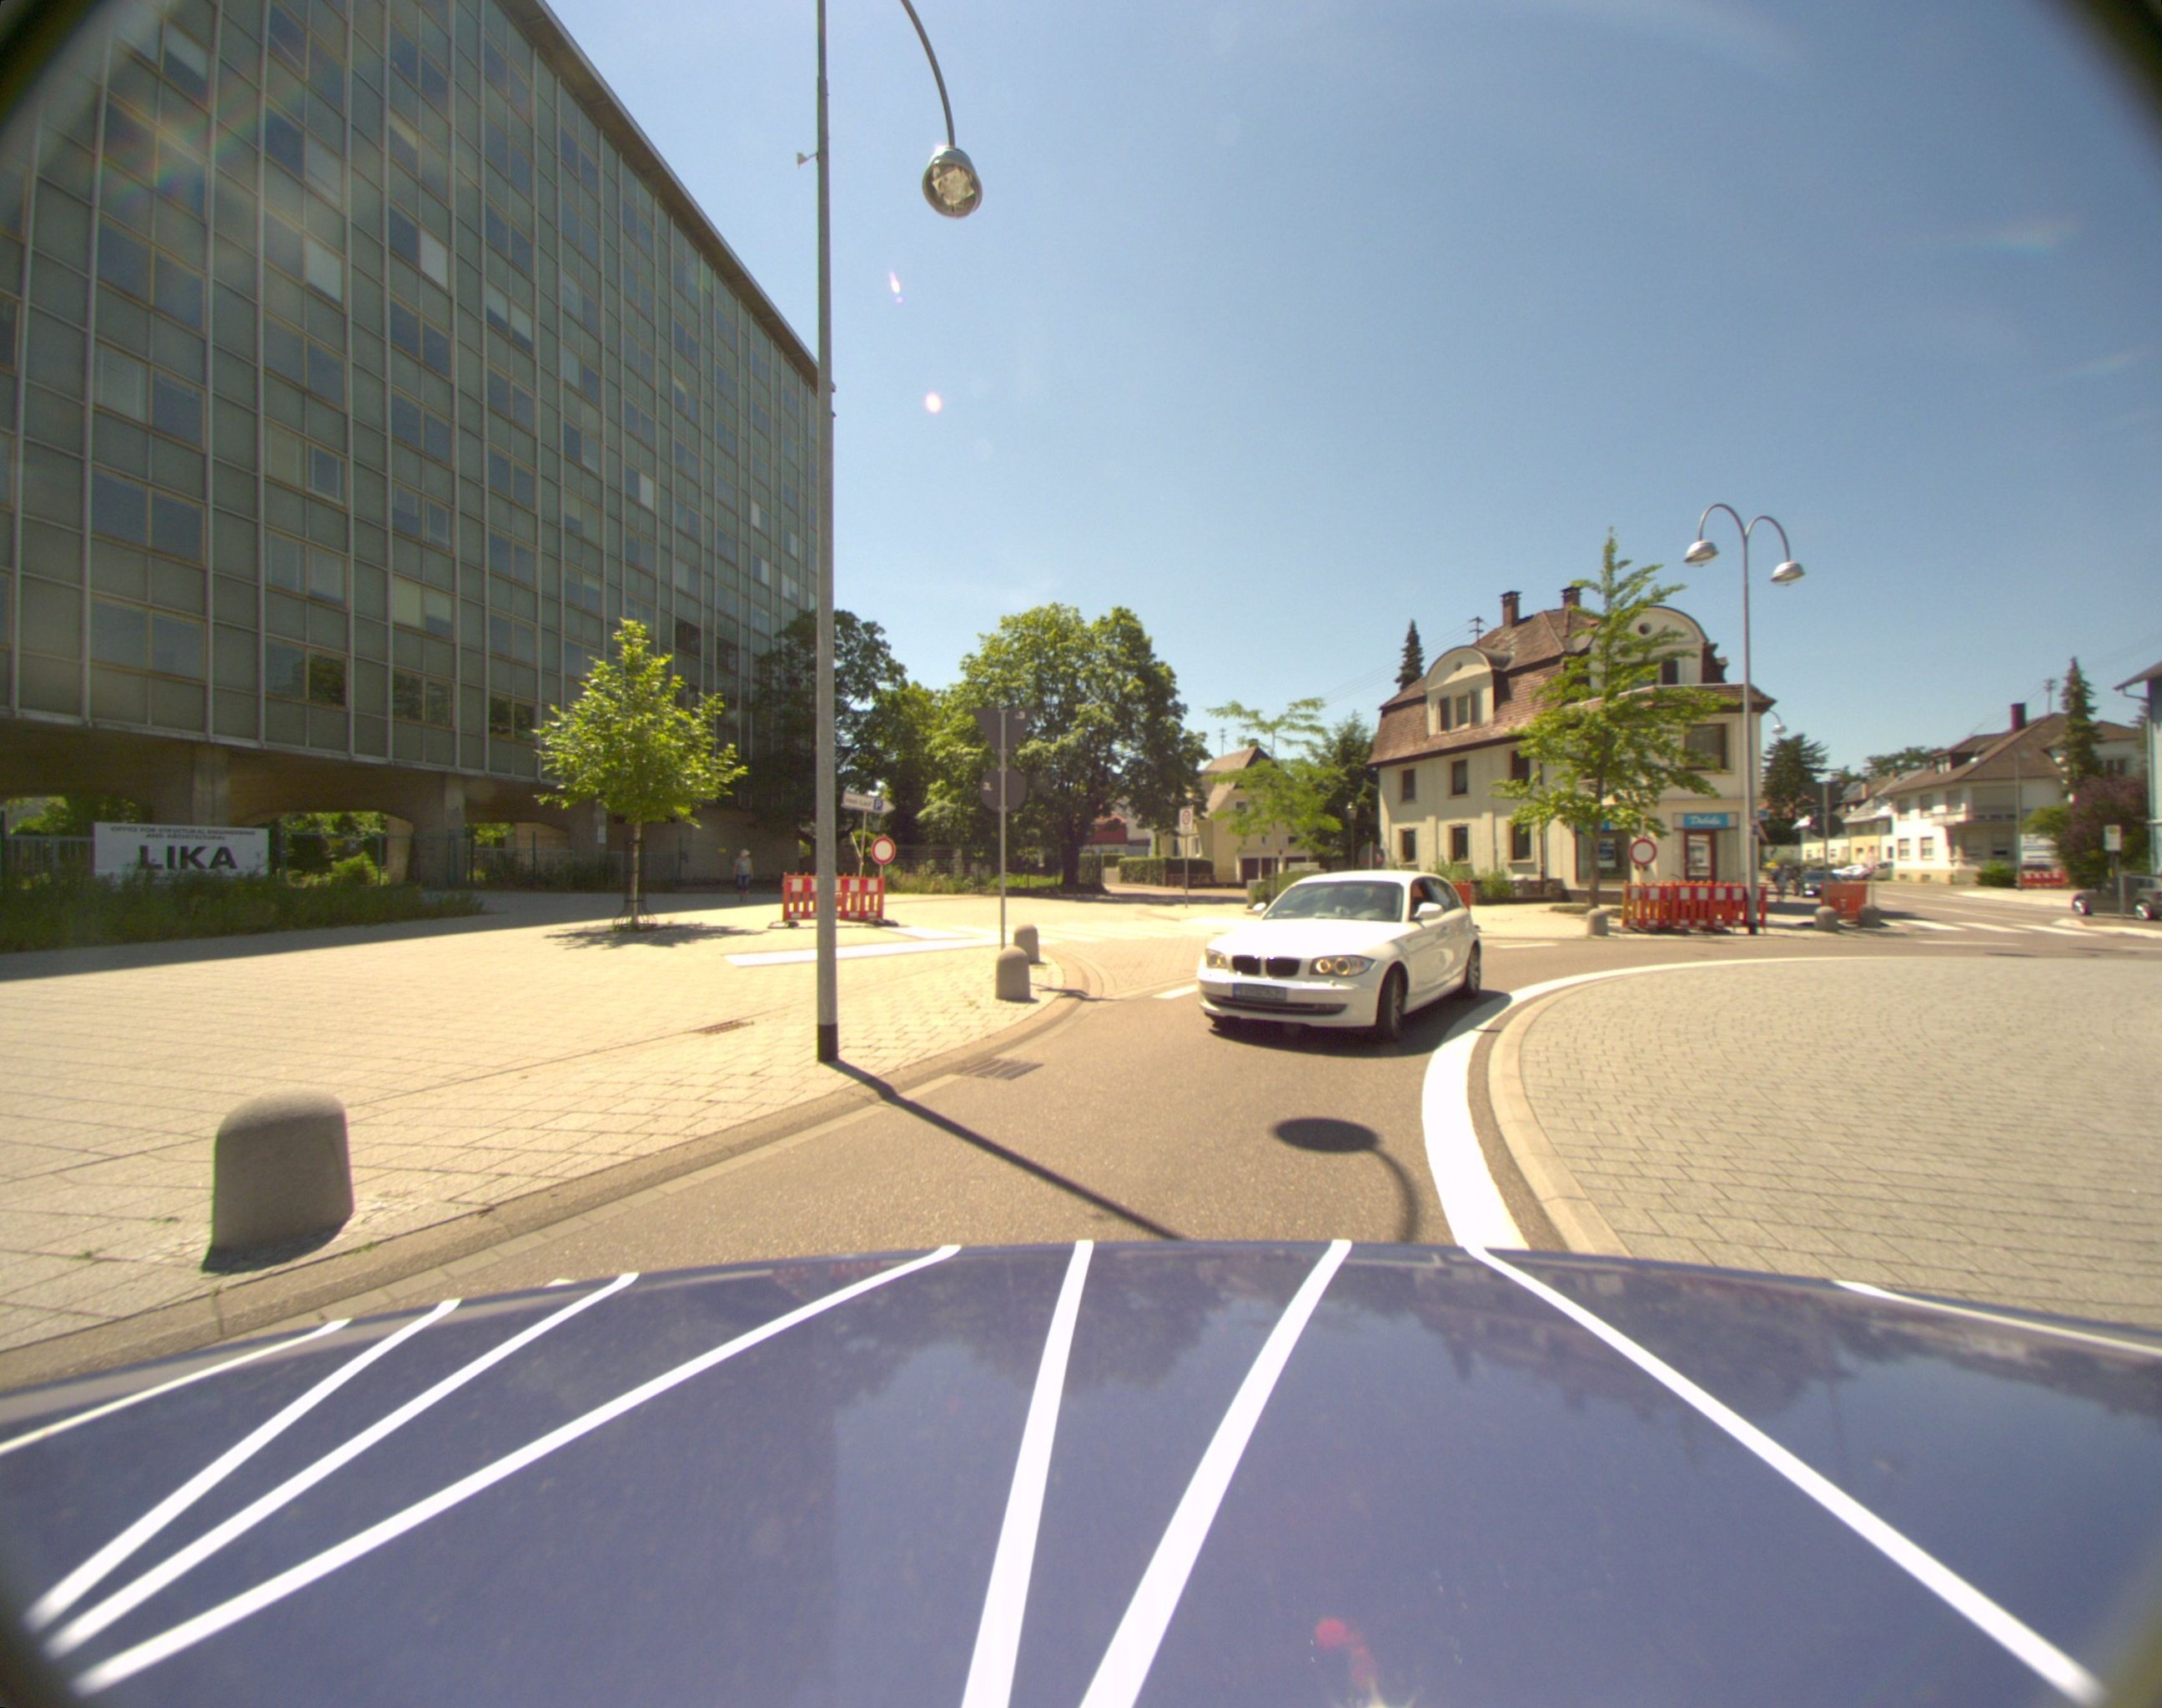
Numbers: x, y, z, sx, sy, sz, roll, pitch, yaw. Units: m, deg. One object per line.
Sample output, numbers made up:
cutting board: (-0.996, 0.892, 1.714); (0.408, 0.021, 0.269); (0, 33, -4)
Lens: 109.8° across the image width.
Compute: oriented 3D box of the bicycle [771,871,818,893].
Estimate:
bicycle: (-12.000, 1.151, 31.858); (1.754, 0.902, 0.448); (0, 0, -11)

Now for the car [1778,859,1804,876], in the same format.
car: (68.949, 1.333, 73.737); (1.659, 1.444, 4.031); (4, 4, 45)

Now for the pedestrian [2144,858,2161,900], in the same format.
pedestrian: (48.335, 1.107, 33.849); (0.756, 1.836, 0.773); (-4, -2, 29)

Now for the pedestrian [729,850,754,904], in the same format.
pedestrian: (-10.852, 0.723, 24.286); (0.567, 1.698, 0.485); (2, 1, -44)

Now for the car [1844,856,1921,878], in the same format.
car: (72.199, 1.128, 68.526); (4.354, 1.866, 1.853); (1, 0, 23)

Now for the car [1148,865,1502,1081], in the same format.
car: (2.687, 0.959, 7.714); (1.783, 1.541, 4.137); (-5, -4, 42)

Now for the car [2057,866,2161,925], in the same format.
car: (33.849, 1.278, 24.251); (1.776, 1.767, 4.252); (0, -1, 29)
